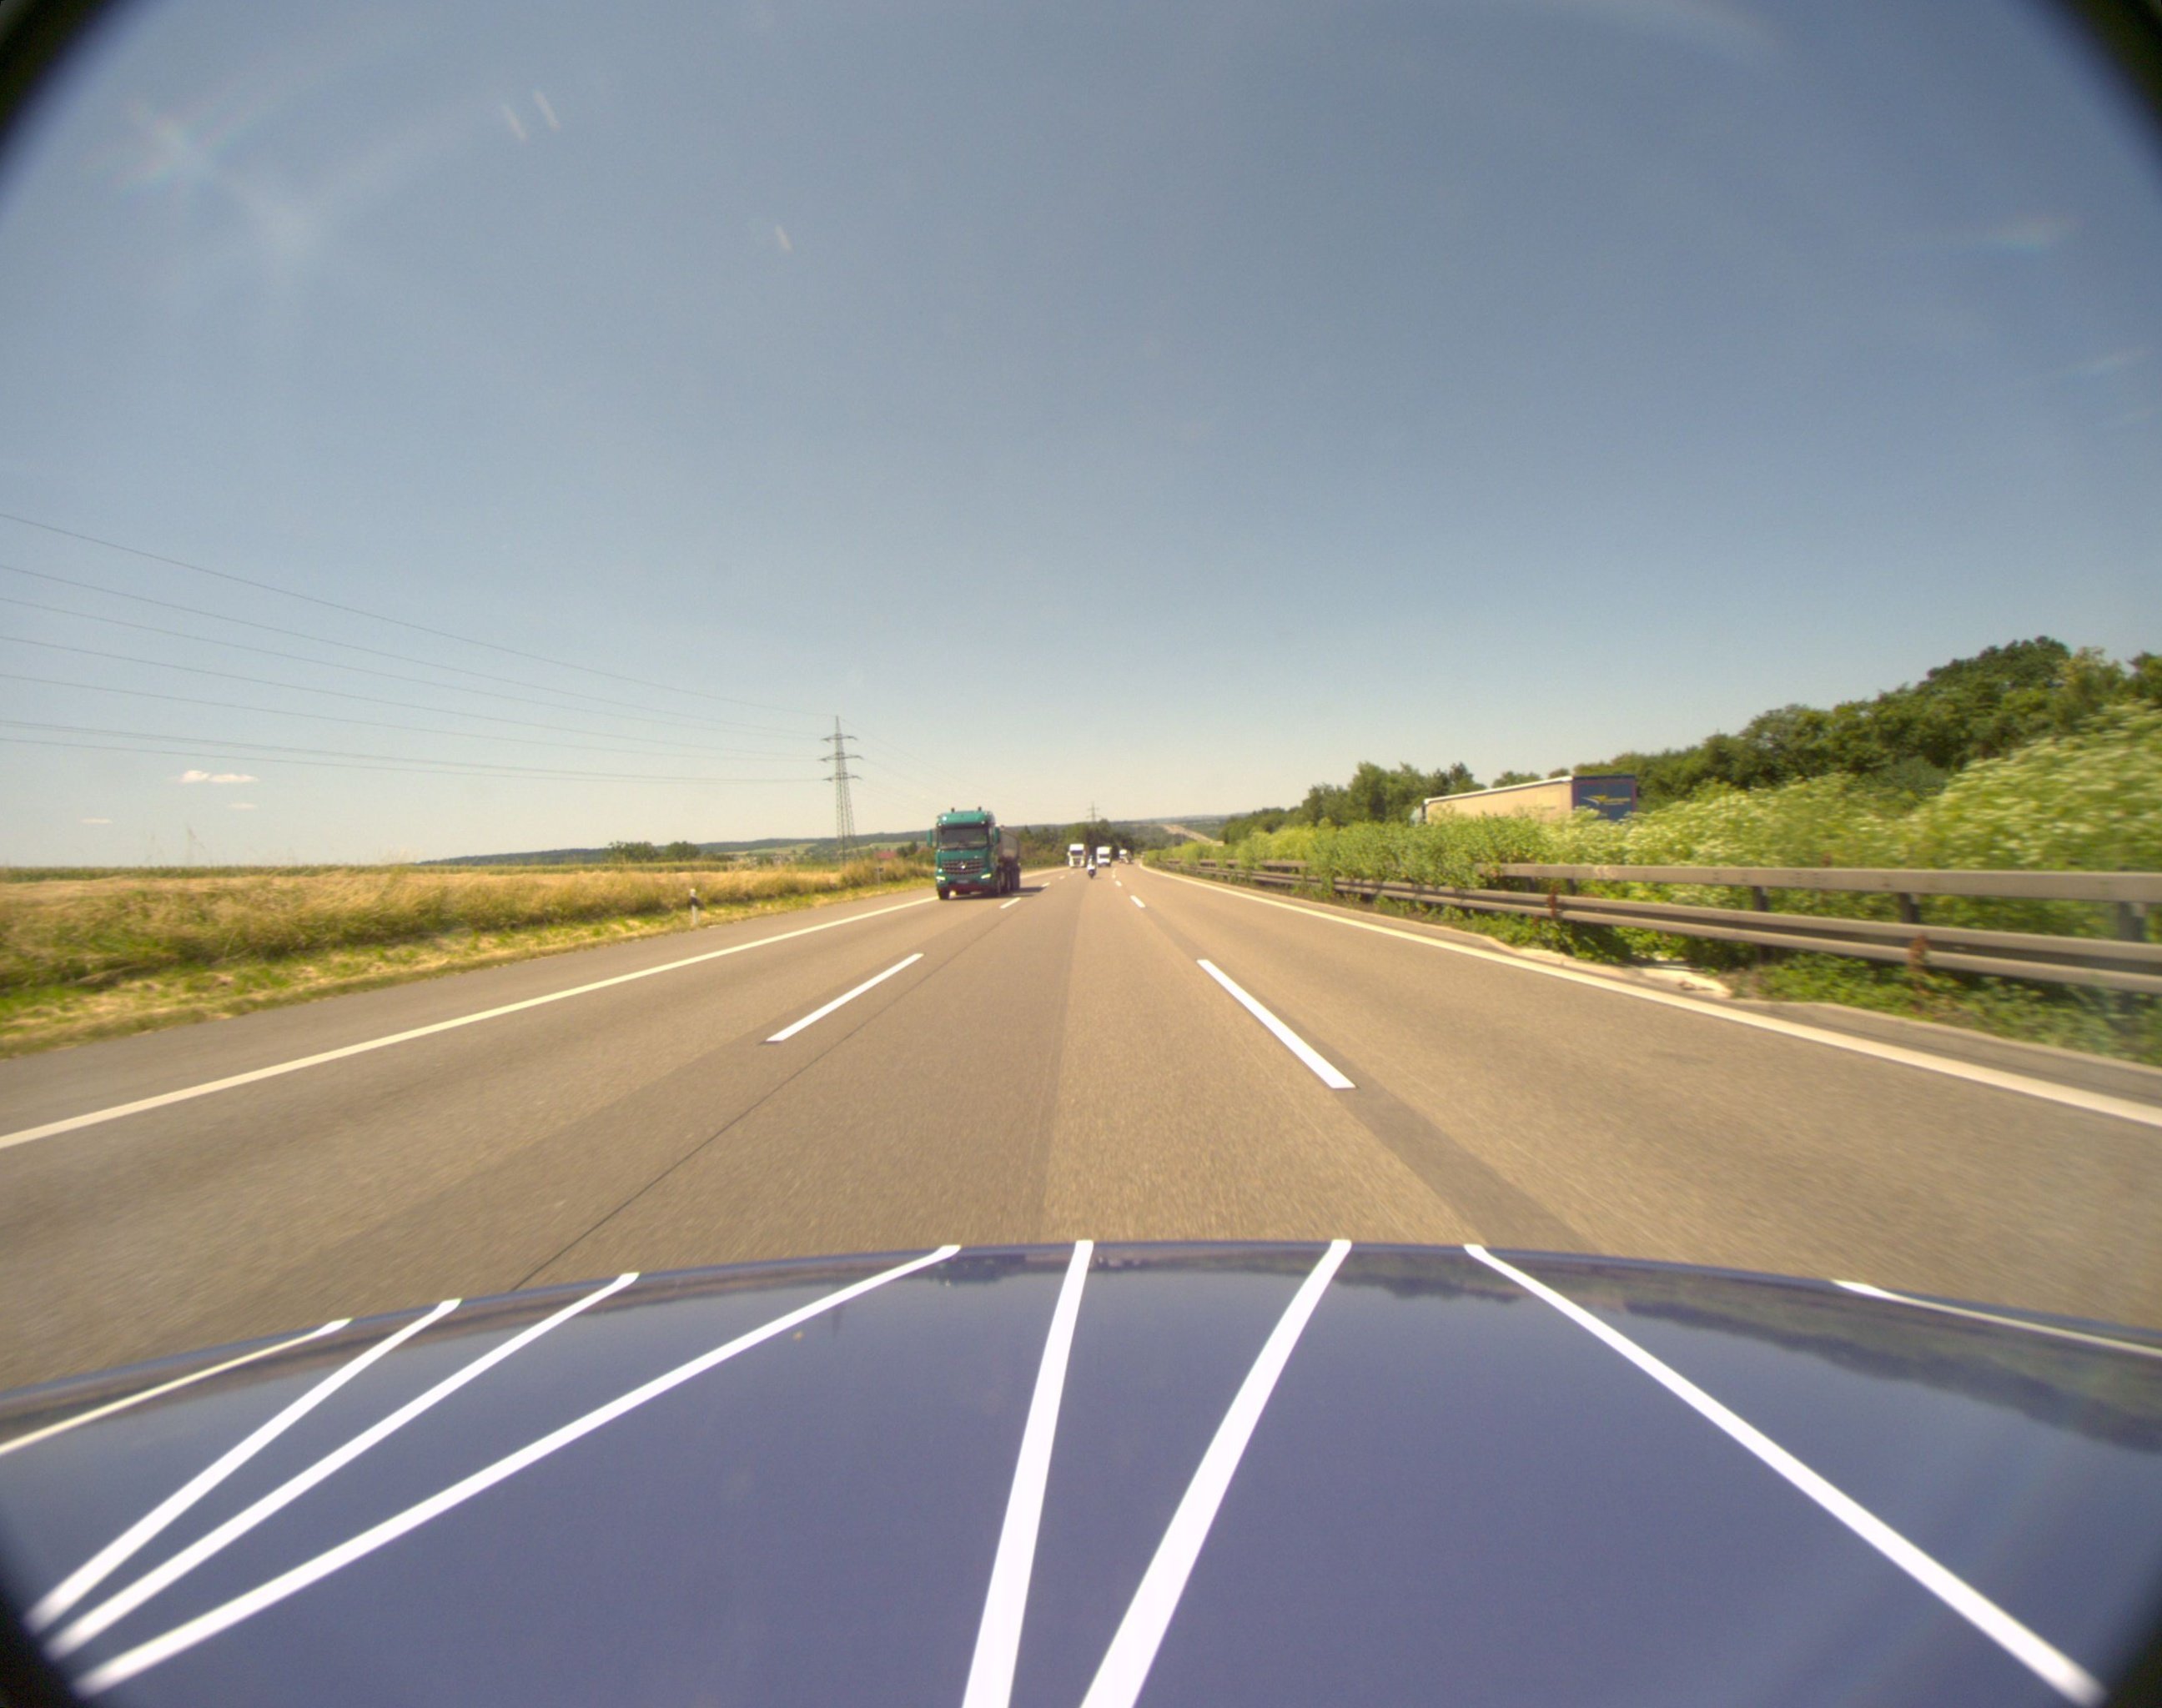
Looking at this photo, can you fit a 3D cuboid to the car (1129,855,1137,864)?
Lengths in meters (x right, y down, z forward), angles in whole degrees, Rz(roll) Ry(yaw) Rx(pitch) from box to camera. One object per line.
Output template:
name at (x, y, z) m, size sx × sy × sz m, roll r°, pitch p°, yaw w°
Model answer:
car at (11.760, 1.332, 173.277) m, size 1.704 × 1.958 × 4.001 m, roll -2°, pitch 0°, yaw 3°

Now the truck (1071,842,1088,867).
truck at (-0.252, 0.018, 133.115) m, size 2.567 × 4.129 × 6.249 m, roll -2°, pitch 0°, yaw 2°

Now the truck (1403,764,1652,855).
truck at (21.208, -1.805, 38.443) m, size 2.680 × 3.498 × 17.038 m, roll -2°, pitch 0°, yaw 1°

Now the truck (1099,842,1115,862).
truck at (4.358, -0.358, 128.917) m, size 2.512 × 3.268 × 8.107 m, roll -1°, pitch 0°, yaw 2°

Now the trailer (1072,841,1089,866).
trailer at (0.004, -0.098, 140.615) m, size 2.607 × 4.239 × 13.034 m, roll -2°, pitch 0°, yaw 2°

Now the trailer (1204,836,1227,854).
trailer at (27.722, -1.749, 157.780) m, size 2.604 × 3.423 × 15.831 m, roll -2°, pitch 0°, yaw 3°

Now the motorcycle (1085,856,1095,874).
motorcycle at (0.663, 0.815, 55.711) m, size 0.631 × 1.279 × 2.313 m, roll -3°, pitch 0°, yaw 1°

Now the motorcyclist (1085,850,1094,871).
motorcyclist at (0.650, 0.466, 55.775) m, size 0.613 × 1.499 × 0.513 m, roll -2°, pitch 1°, yaw 1°

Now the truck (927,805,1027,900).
truck at (-4.612, -0.079, 36.713) m, size 2.872 × 3.702 × 12.762 m, roll -2°, pitch 0°, yaw 0°

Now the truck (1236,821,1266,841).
truck at (22.935, -3.019, 102.866) m, size 2.683 × 2.464 × 7.841 m, roll 0°, pitch 0°, yaw 2°
